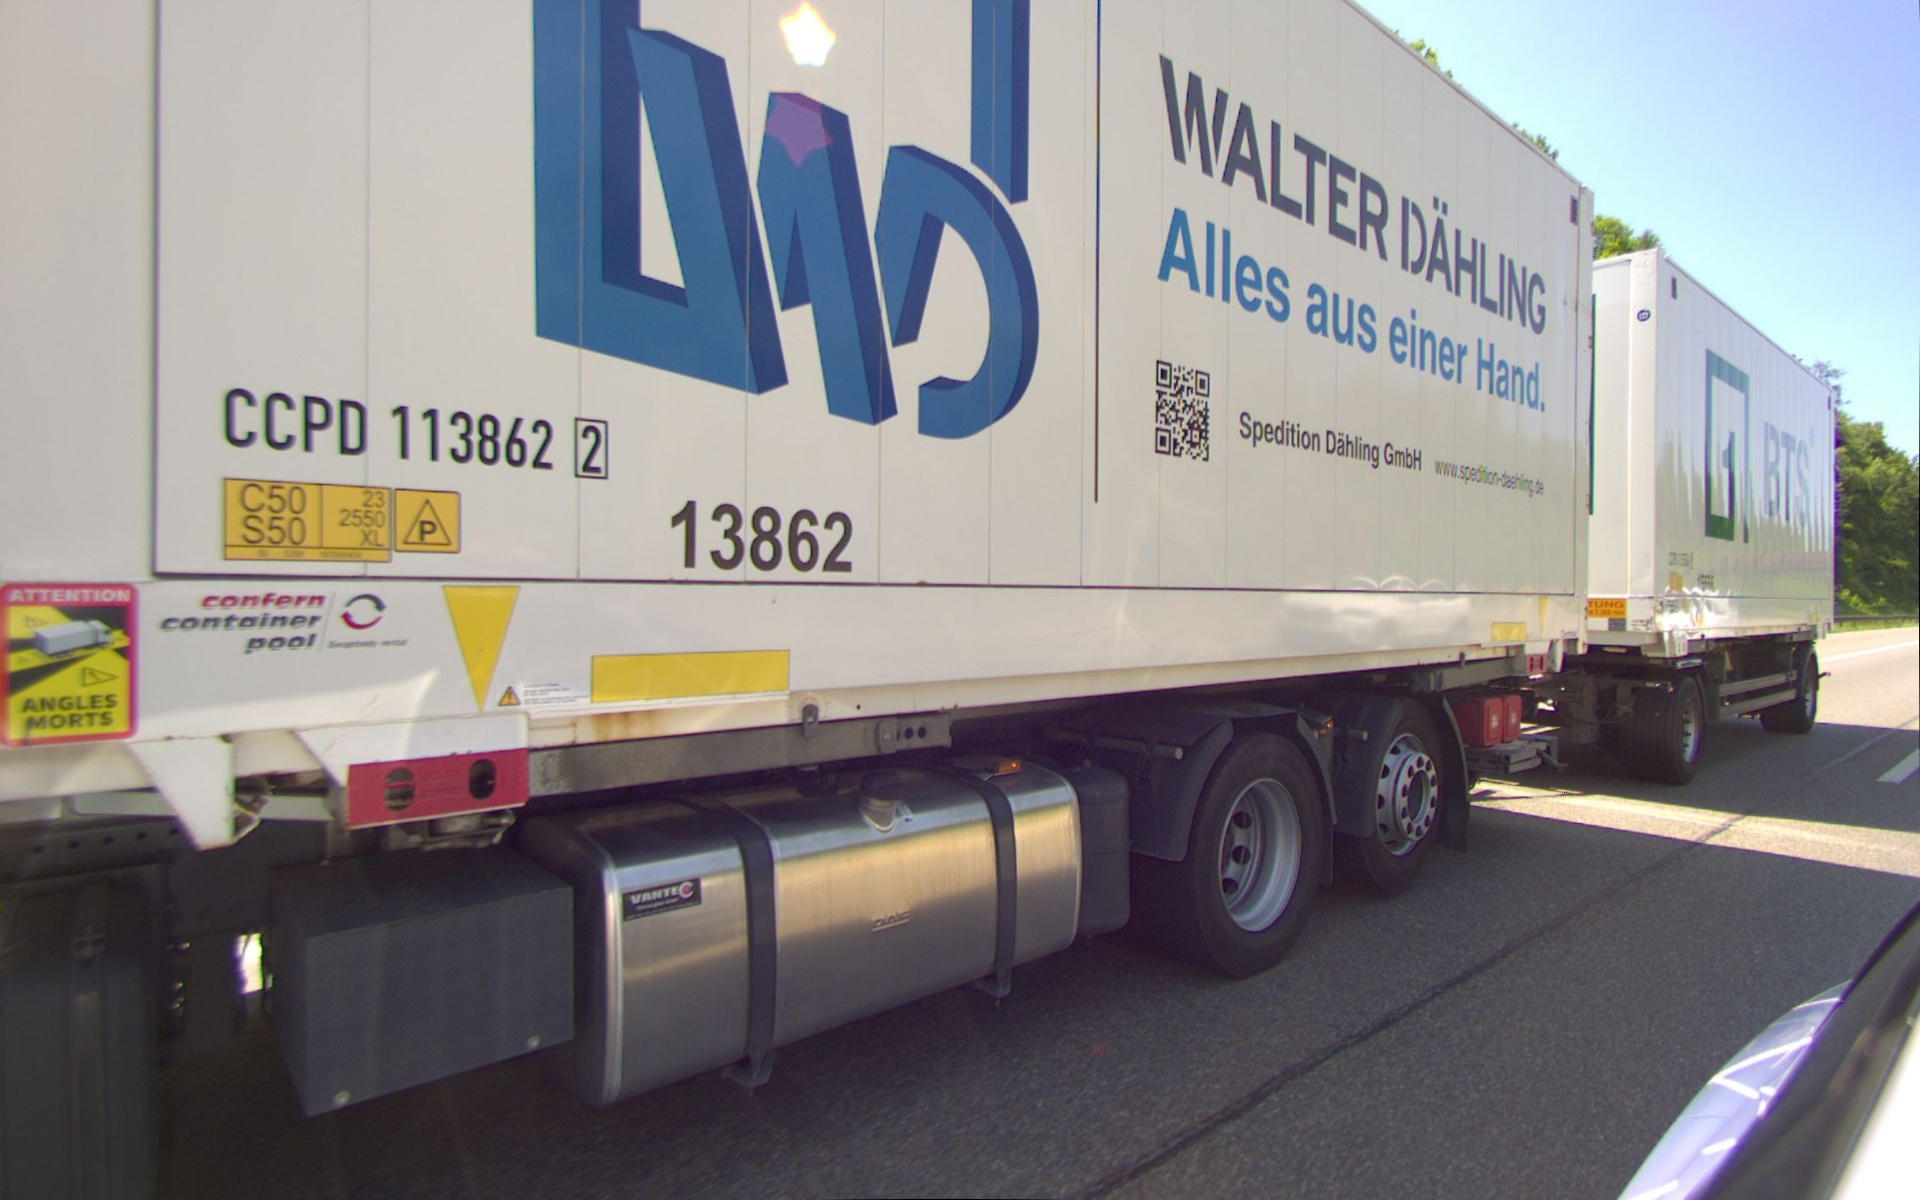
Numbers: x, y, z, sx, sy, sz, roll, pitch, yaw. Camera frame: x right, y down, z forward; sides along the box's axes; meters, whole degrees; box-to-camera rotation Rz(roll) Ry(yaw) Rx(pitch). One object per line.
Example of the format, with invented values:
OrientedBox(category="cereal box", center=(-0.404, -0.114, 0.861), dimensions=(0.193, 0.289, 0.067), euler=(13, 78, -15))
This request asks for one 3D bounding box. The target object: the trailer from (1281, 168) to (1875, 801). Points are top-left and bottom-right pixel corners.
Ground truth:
OrientedBox(category="trailer", center=(7.401, -0.710, 11.032), dimensions=(9.888, 4.229, 2.684), euler=(1, -1, -41))

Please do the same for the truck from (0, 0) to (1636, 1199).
OrientedBox(category="truck", center=(-0.408, -0.748, 4.173), dimensions=(10.438, 4.111, 2.684), euler=(1, -1, -41))
